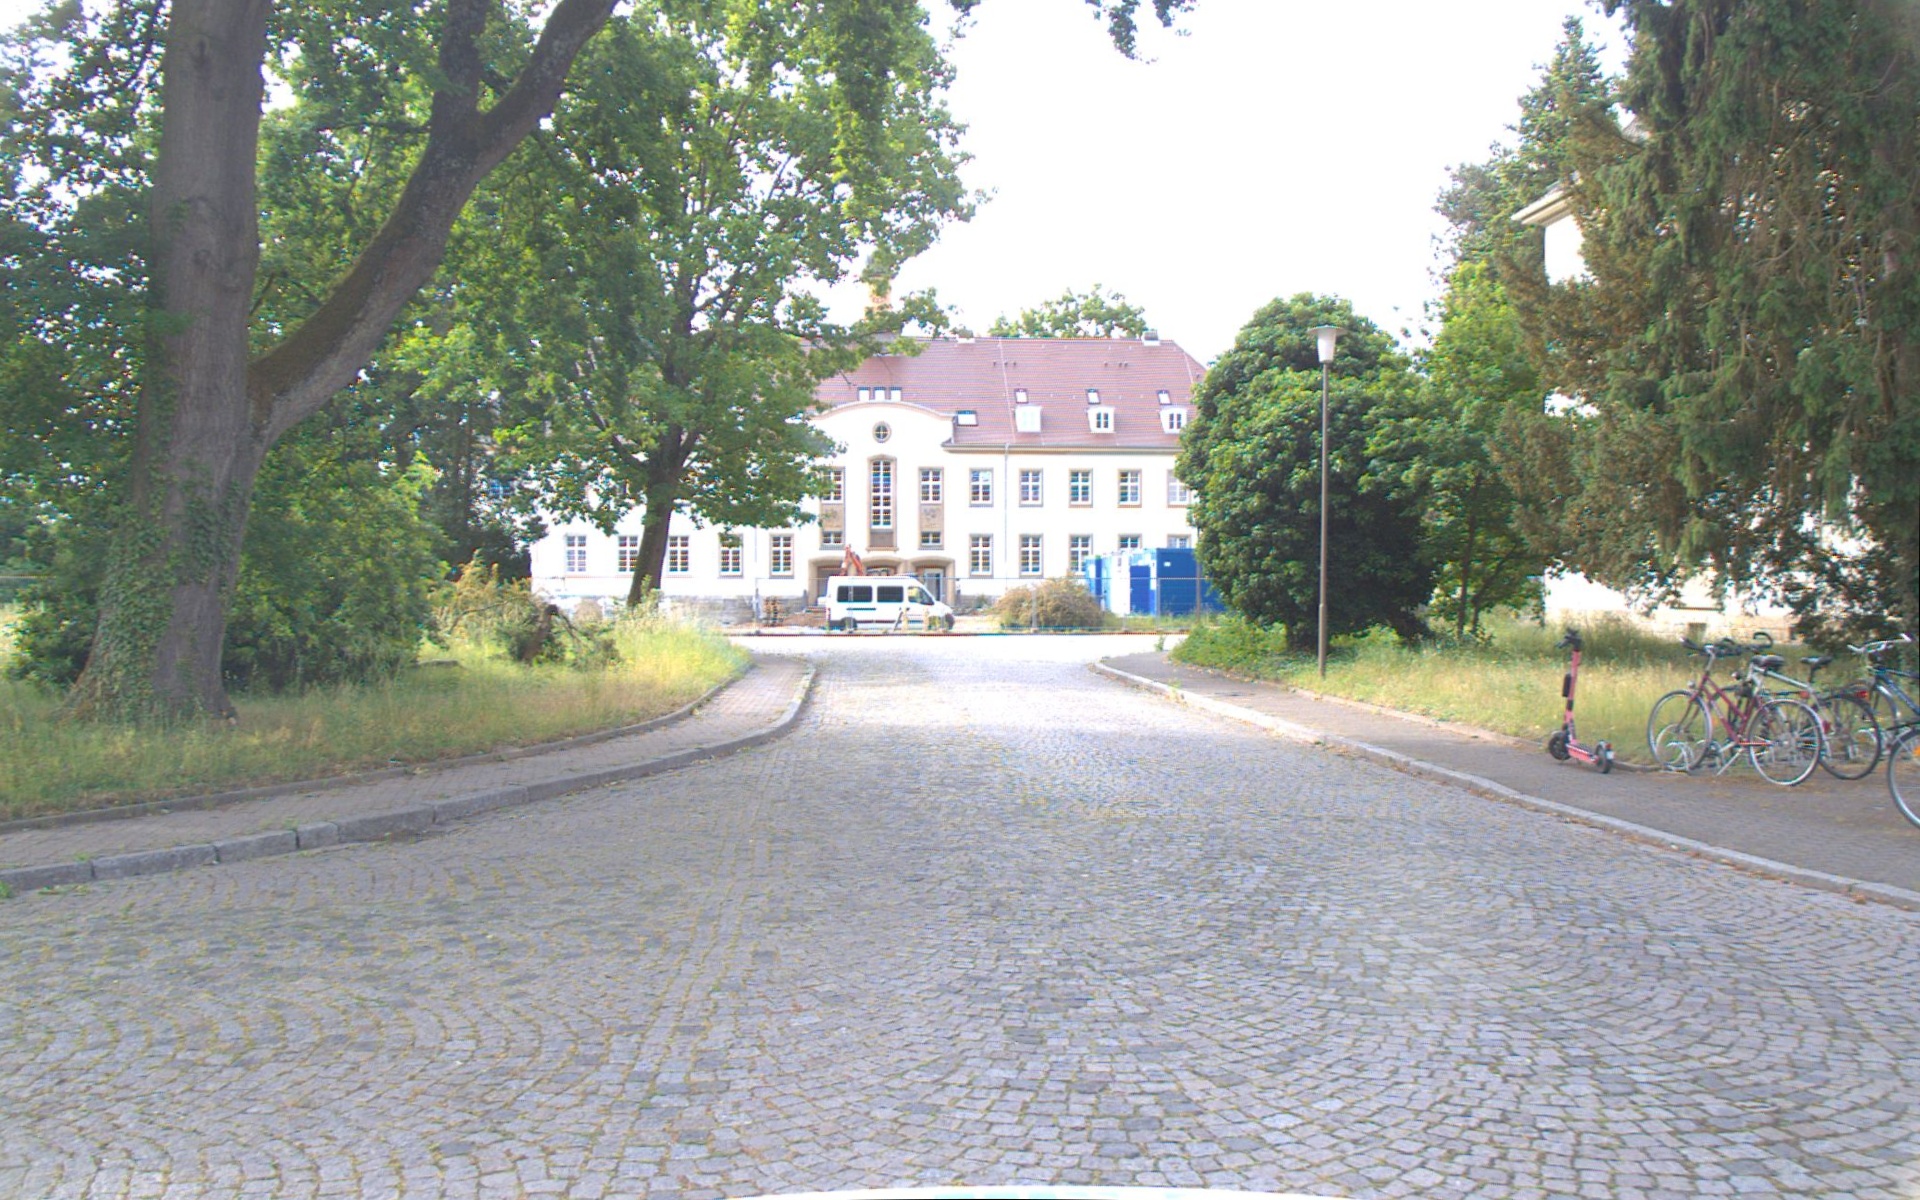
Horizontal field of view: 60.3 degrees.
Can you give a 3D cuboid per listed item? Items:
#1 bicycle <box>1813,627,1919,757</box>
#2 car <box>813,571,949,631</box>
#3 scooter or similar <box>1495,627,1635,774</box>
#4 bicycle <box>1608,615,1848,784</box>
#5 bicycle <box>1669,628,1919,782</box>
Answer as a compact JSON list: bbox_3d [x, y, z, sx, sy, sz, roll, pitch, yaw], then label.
[{"bbox_3d":[8.498,0.811,14.651,0.533,1.092,1.611,-3,2,-33],"label":"bicycle"},{"bbox_3d":[-3.235,0.019,67.519,5.405,2.245,2.125,1,3,-4],"label":"car"},{"bbox_3d":[5.422,0.874,14.915,0.666,1.216,1.552,-1,0,0],"label":"scooter or similar"},{"bbox_3d":[6.412,0.787,13.916,0.633,1.244,1.888,-3,2,-22],"label":"bicycle"},{"bbox_3d":[7.084,0.849,14.147,0.633,1.133,1.978,-3,2,-22],"label":"bicycle"}]
